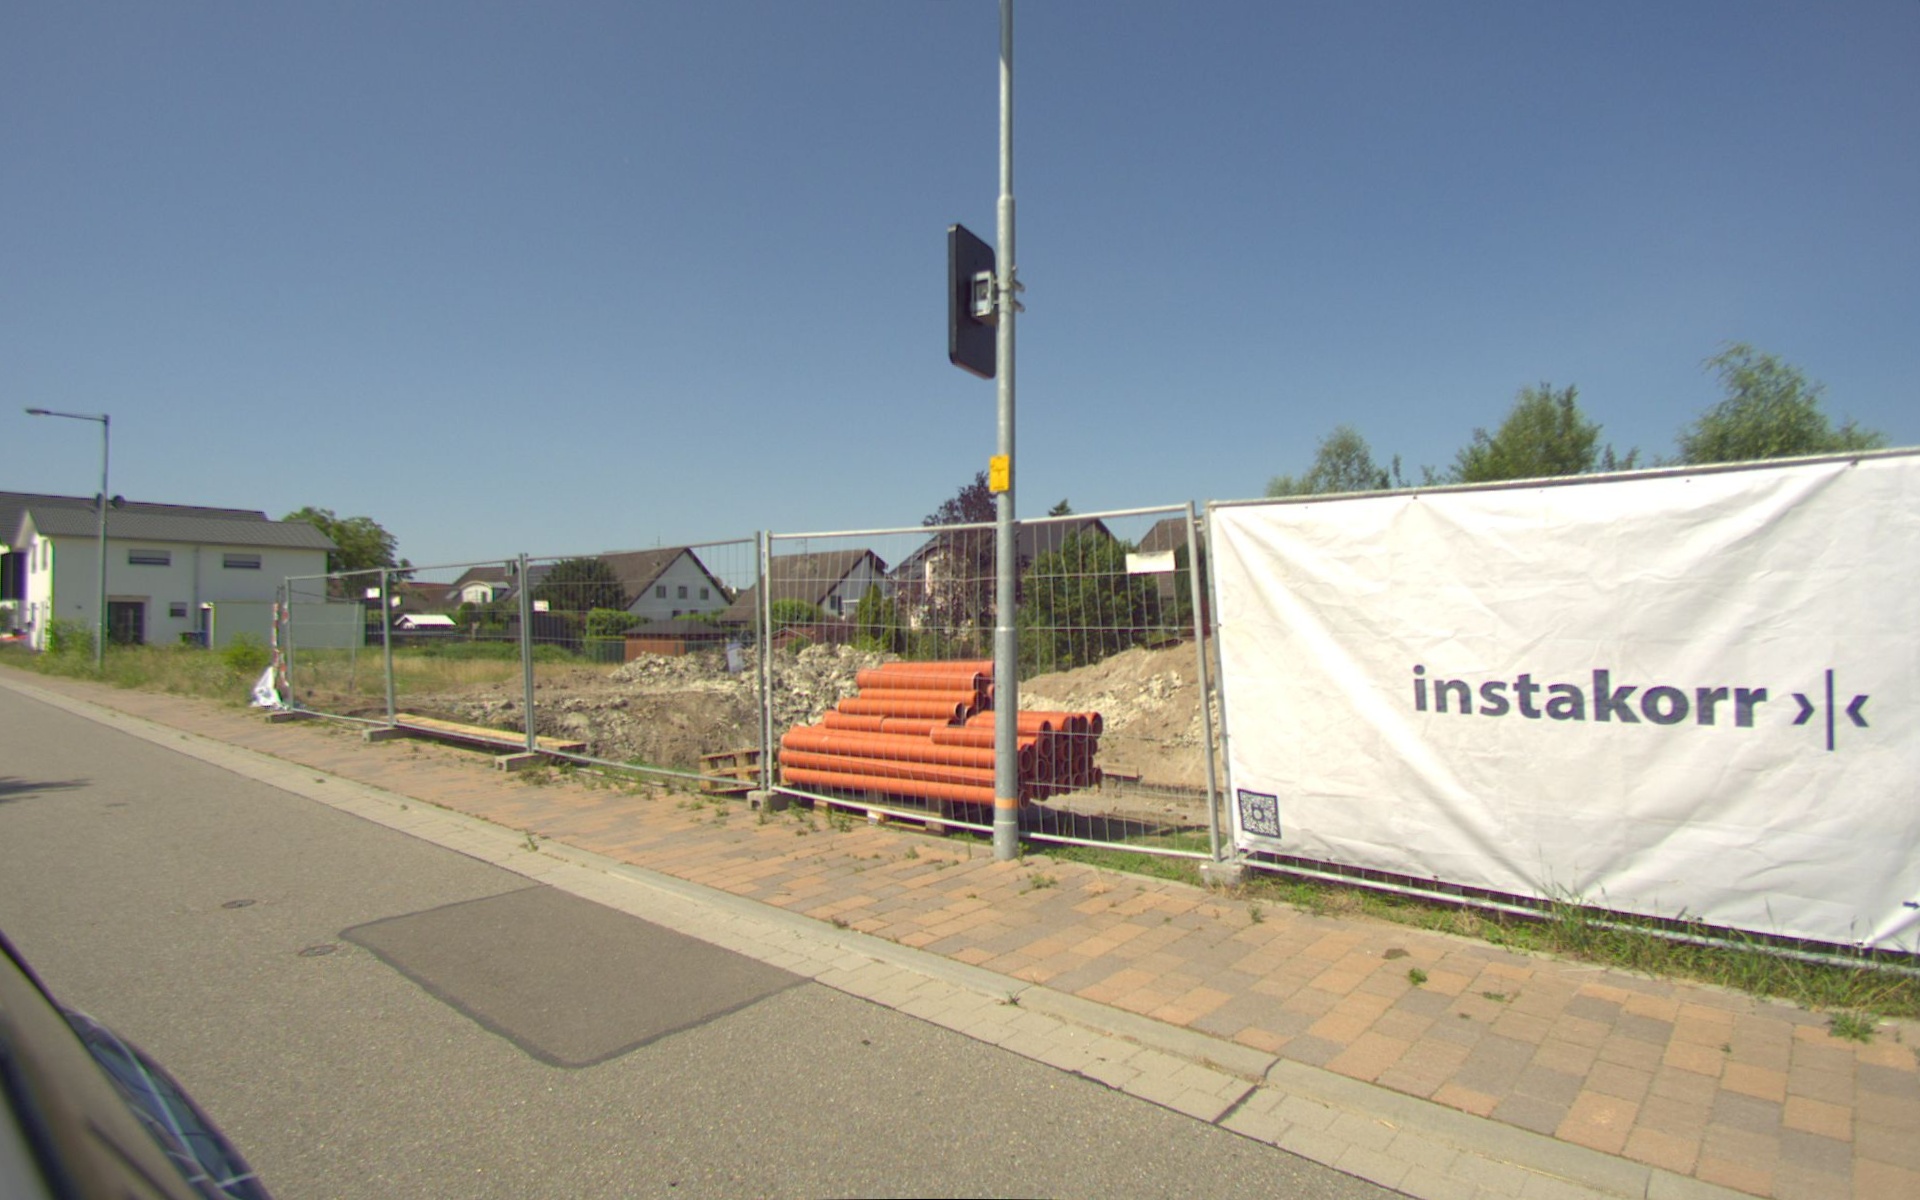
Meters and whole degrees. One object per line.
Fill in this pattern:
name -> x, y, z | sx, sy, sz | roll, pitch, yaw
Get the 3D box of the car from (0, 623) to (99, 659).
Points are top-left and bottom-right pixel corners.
car -> -50.734, 2.254, 55.769 | 1.936, 1.889, 4.690 | -1, -2, 38

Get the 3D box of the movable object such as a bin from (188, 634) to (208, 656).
movable object such as a bin -> -38.146, 2.240, 50.667 | 0.808, 1.107, 0.663 | -2, -3, 42

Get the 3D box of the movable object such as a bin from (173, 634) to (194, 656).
movable object such as a bin -> -38.456, 2.227, 50.115 | 0.784, 1.107, 0.653 | -2, -3, 41
